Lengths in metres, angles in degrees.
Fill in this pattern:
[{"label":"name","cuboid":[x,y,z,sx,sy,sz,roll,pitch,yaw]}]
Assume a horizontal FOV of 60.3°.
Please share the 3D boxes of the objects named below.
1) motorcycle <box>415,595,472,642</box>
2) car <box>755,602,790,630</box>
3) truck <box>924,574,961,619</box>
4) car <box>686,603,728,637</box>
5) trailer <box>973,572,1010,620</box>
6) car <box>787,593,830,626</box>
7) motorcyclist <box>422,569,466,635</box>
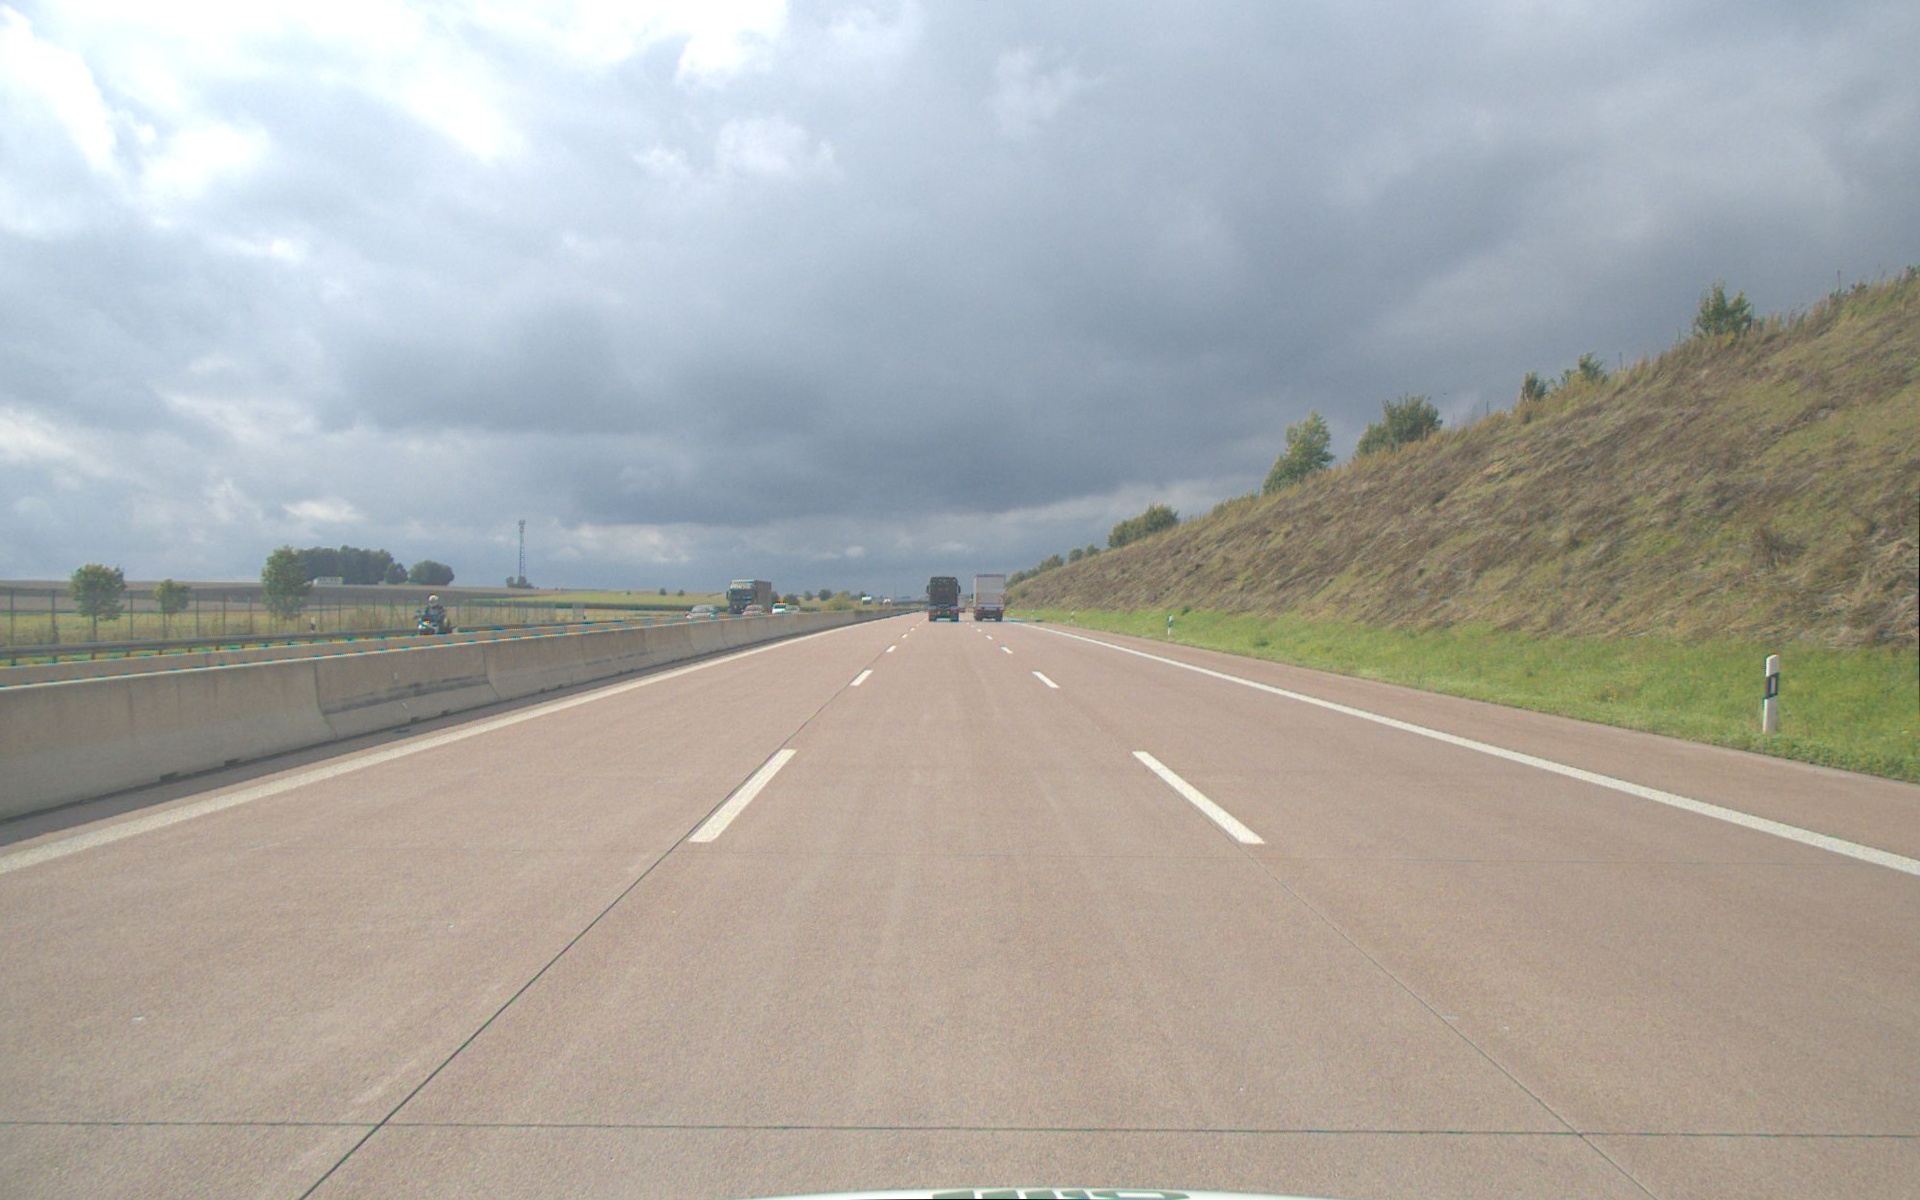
[{"label":"motorcycle","cuboid":[-15.066,0.526,48.336,0.907,1.326,2.342,1,0,0]},{"label":"car","cuboid":[-8.031,0.672,70.909,1.198,1.172,2.757,1,0,-1]},{"label":"truck","cuboid":[-1.483,-0.243,137.025,2.790,3.612,8.315,1,-1,-2]},{"label":"car","cuboid":[-16.054,1.246,105.263,1.945,2.049,5.050,1,-1,-1]},{"label":"trailer","cuboid":[2.743,-0.290,145.881,2.692,4.082,8.666,1,-1,-2]},{"label":"car","cuboid":[-8.045,0.502,87.987,1.932,1.691,4.081,1,0,-1]},{"label":"motorcyclist","cuboid":[-15.053,0.058,48.288,0.988,1.894,0.744,1,0,1]}]
